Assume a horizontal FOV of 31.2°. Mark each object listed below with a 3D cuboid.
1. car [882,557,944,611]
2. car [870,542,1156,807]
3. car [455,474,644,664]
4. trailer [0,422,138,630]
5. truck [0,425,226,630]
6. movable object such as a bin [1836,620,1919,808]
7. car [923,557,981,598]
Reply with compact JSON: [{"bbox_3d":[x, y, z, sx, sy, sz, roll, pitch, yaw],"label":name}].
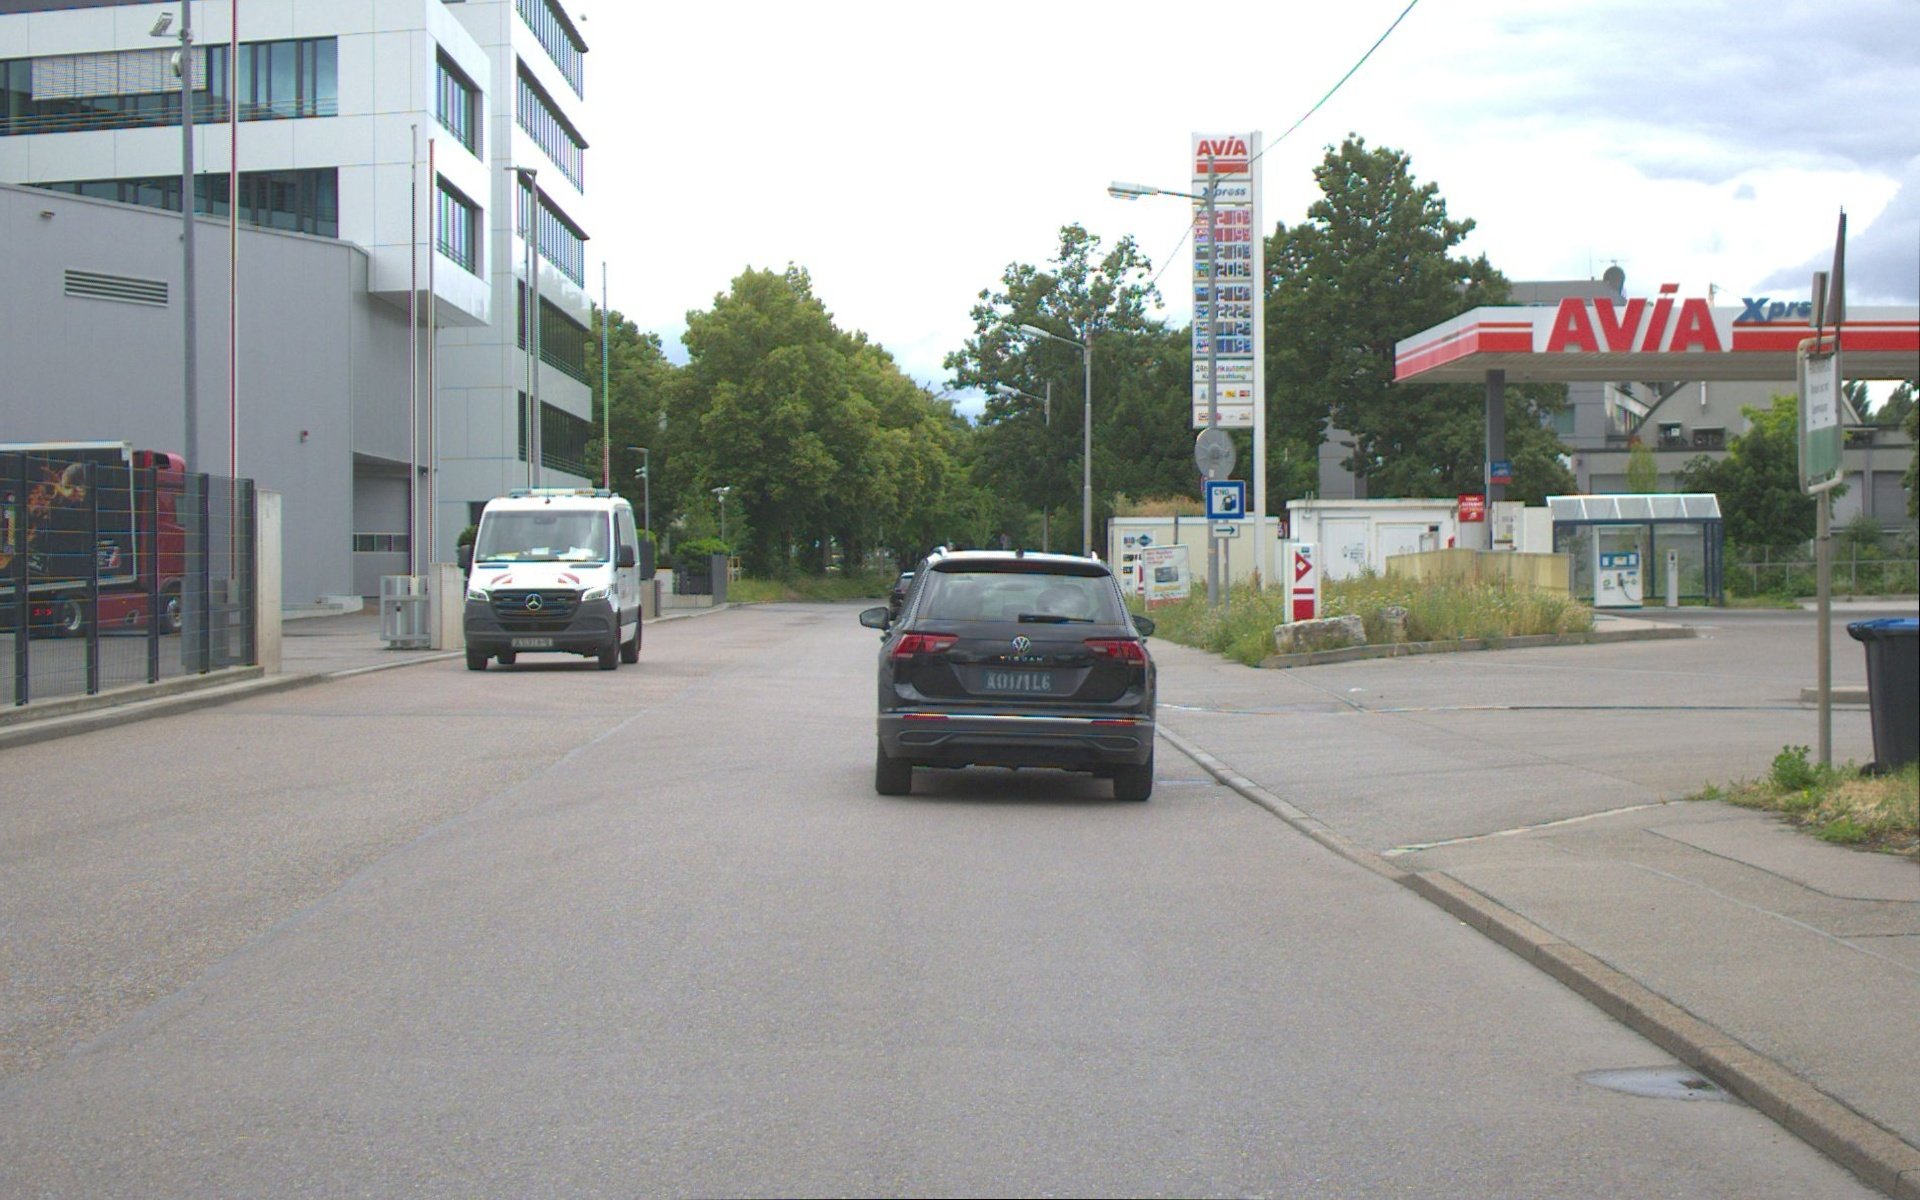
[{"bbox_3d":[-1.423,-0.496,103.684,1.839,1.611,4.000,0,1,-1],"label":"car"},{"bbox_3d":[0.379,0.449,23.268,1.739,1.612,3.641,2,0,2],"label":"car"},{"bbox_3d":[-5.504,-0.448,46.688,1.993,2.408,5.257,1,1,-1],"label":"car"},{"bbox_3d":[-20.348,-1.416,65.309,2.745,4.017,12.605,1,1,20],"label":"trailer"},{"bbox_3d":[-18.279,-1.490,71.014,2.745,4.017,7.086,1,1,20],"label":"truck"},{"bbox_3d":[5.684,0.668,20.467,0.714,1.077,0.663,0,1,-7],"label":"movable object such as a bin"},{"bbox_3d":[-0.345,-1.002,153.677,1.994,1.780,3.999,1,0,8],"label":"car"}]
